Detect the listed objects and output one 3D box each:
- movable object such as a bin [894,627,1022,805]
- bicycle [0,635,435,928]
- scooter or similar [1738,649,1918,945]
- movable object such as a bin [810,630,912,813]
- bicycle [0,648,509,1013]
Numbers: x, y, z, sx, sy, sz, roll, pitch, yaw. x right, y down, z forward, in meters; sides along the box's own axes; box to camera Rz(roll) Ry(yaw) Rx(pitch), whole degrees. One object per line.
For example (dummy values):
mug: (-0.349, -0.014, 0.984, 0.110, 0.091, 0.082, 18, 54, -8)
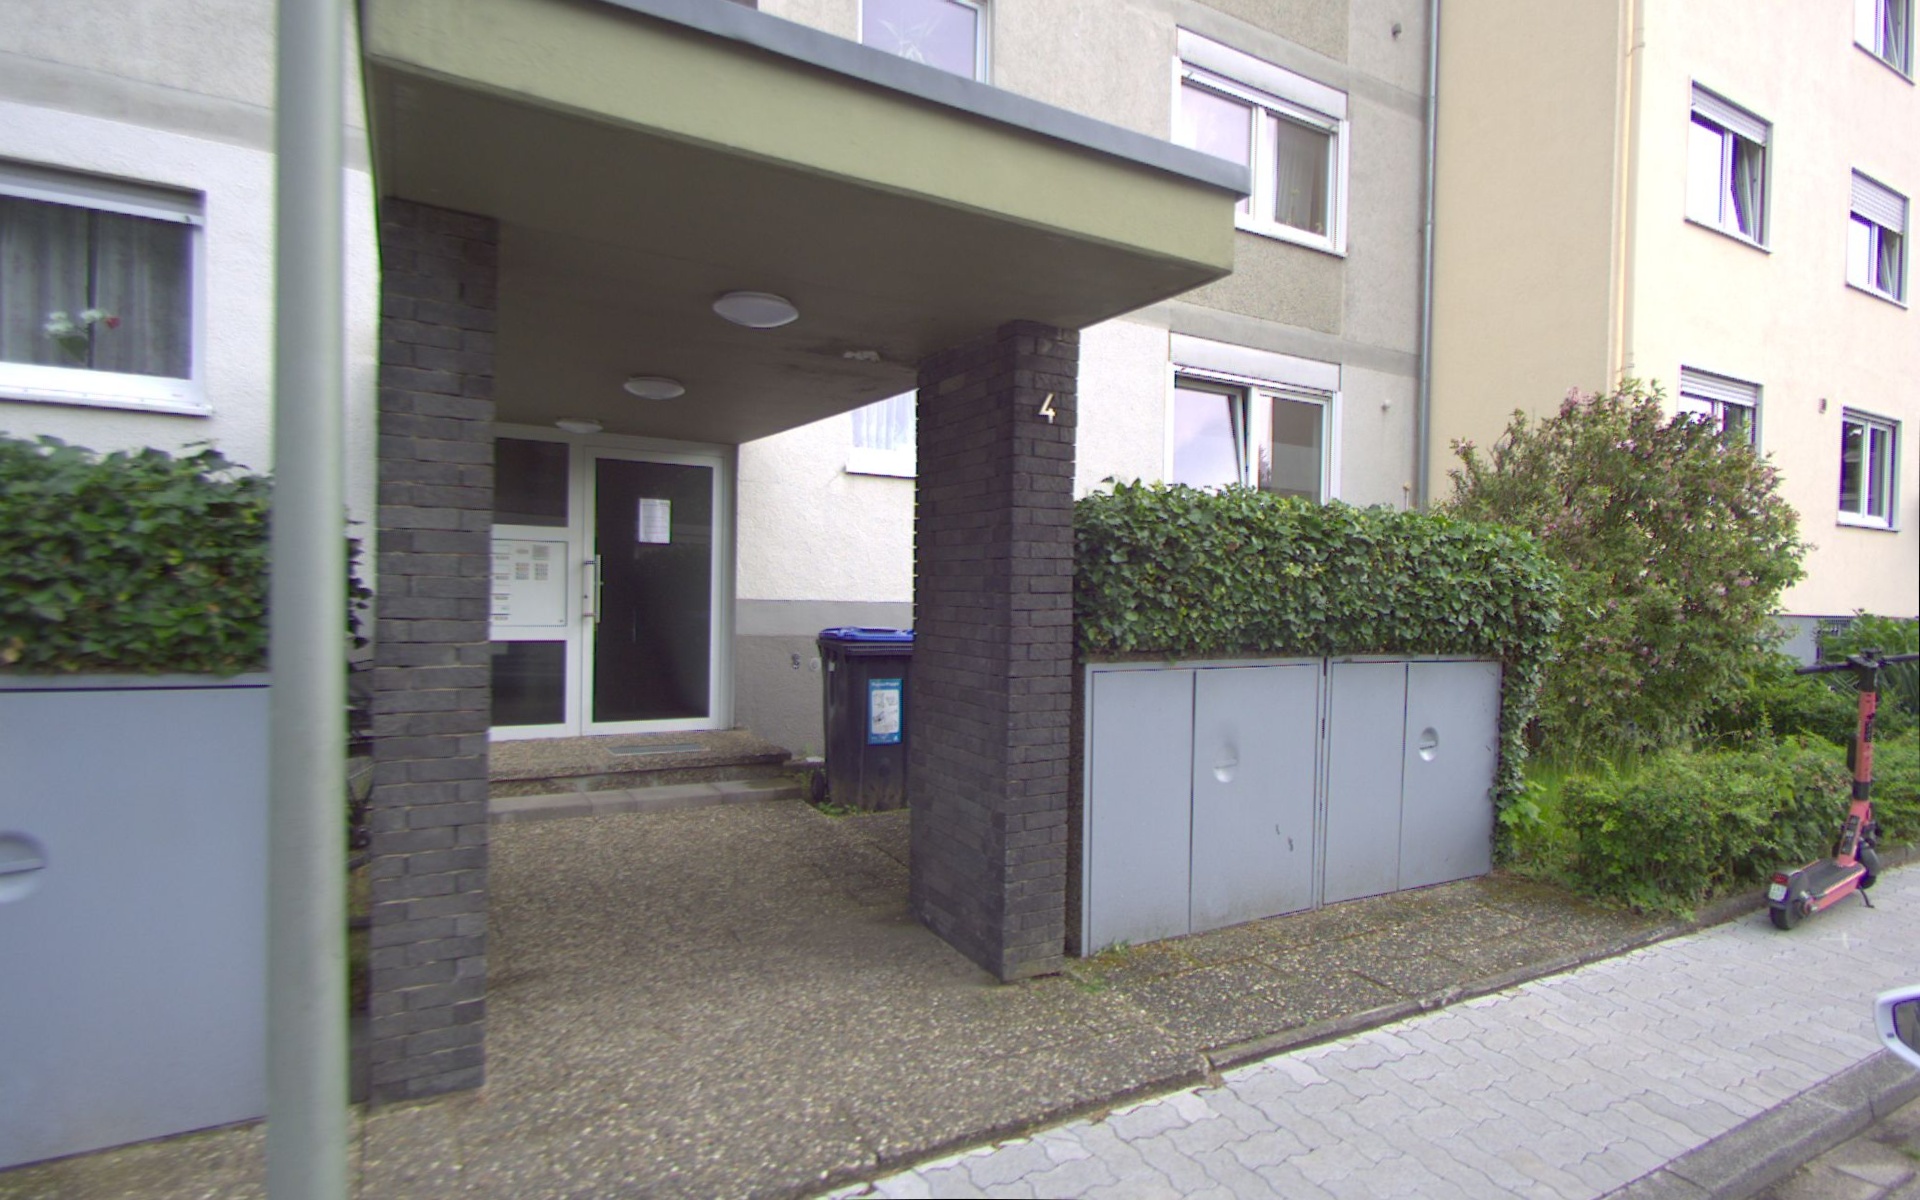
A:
movable object such as a bin: (-0.023, 0.708, 6.429, 0.582, 1.048, 0.621, 1, 0, -30)
bicycle: (-3.043, 0.687, 4.160, 1.527, 1.048, 0.372, 1, 3, -29)
scooter or similar: (4.060, 0.858, 4.681, 1.151, 1.227, 0.271, 0, 1, -31)
movable object such as a bin: (-0.606, 0.710, 6.074, 0.569, 1.033, 0.537, 1, 1, -8)
bicycle: (-2.433, 0.719, 3.510, 1.527, 1.048, 0.451, 1, 3, -29)
